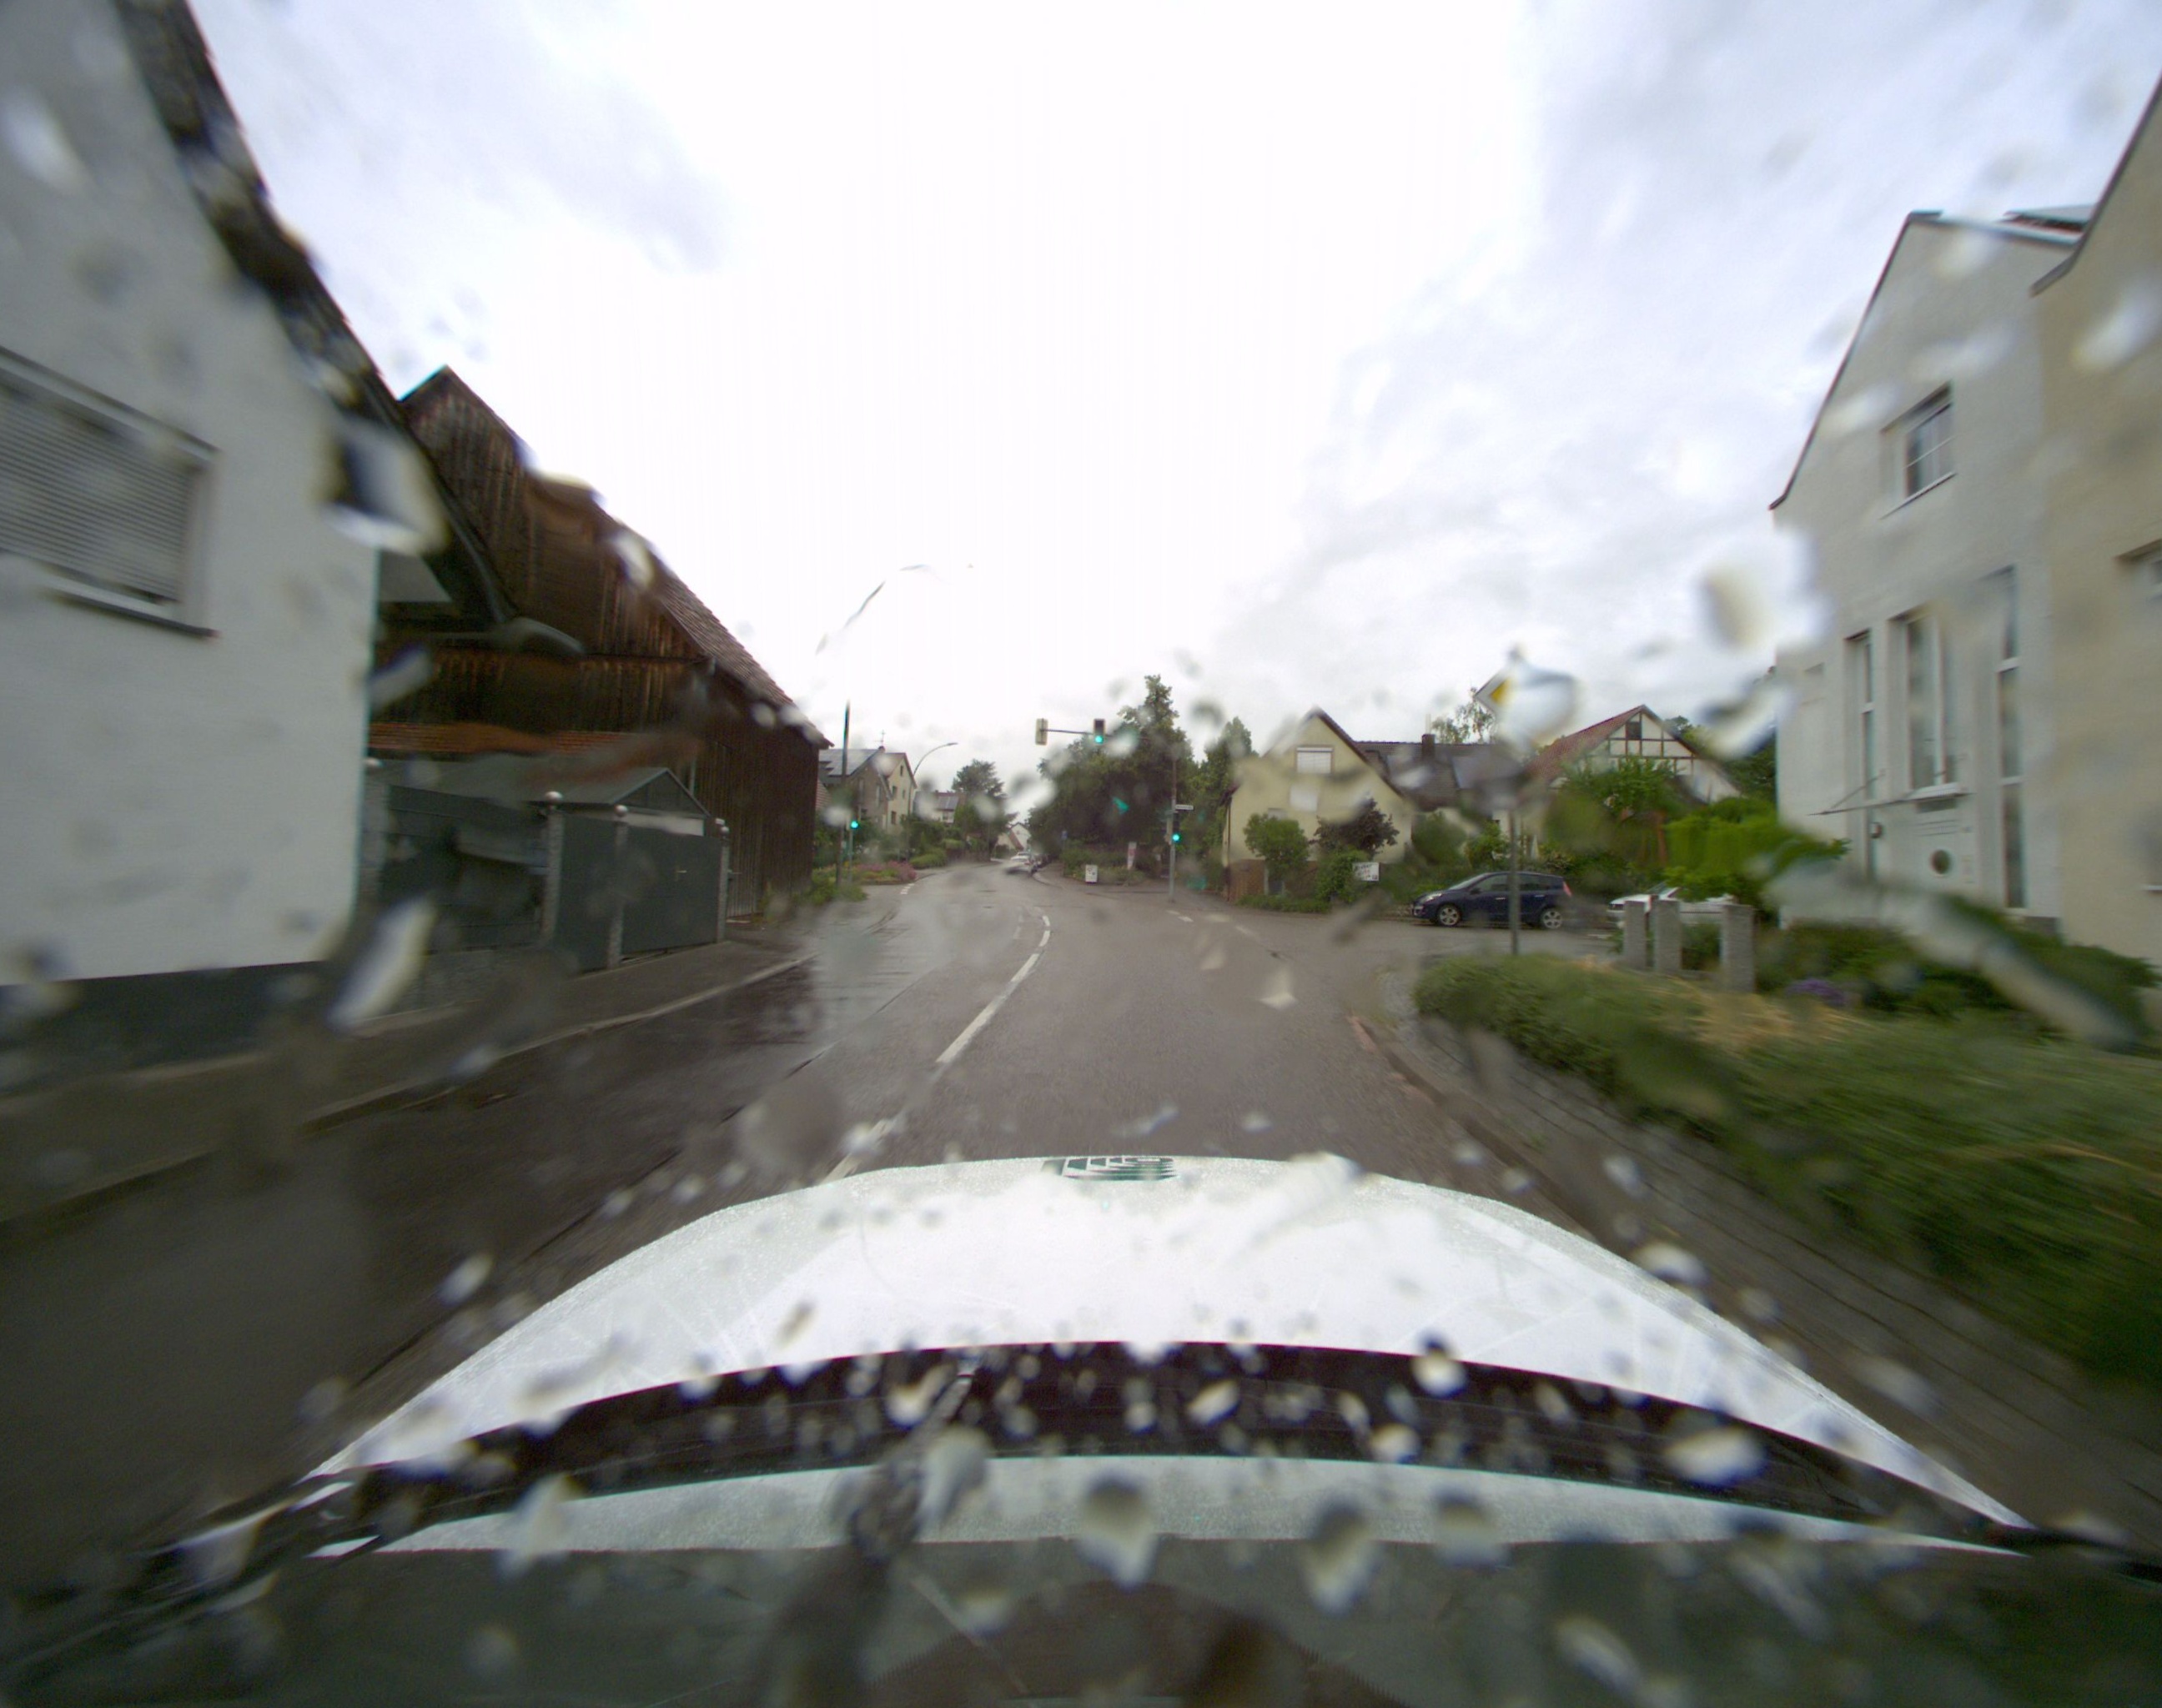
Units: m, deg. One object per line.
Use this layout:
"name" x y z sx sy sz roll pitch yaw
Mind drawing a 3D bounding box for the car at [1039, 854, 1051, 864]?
"car" -5.252 0.773 118.189 1.648 1.371 4.177 1 0 -3

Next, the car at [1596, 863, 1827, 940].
"car" 16.915 1.232 22.105 4.651 1.804 1.810 2 -1 14

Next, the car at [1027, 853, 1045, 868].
"car" -5.070 0.722 92.107 1.808 1.573 3.880 1 -1 1

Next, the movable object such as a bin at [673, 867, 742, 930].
"movable object such as a bin" -6.820 0.804 14.887 0.895 1.078 0.651 3 -2 -1

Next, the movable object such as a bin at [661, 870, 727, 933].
"movable object such as a bin" -6.739 0.820 14.205 0.815 1.061 0.596 2 -2 -1

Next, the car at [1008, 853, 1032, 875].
"car" -4.437 0.718 59.267 1.608 1.480 4.033 2 0 -3

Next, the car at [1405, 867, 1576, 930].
"car" 11.659 1.230 23.481 4.102 1.585 1.871 2 -1 14

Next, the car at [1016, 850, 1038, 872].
"car" -4.603 0.606 70.248 1.632 1.741 4.134 1 0 -1

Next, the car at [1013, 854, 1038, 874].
"car" -4.335 0.769 64.498 1.640 1.462 4.000 2 1 0

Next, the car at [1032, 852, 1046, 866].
"car" -5.352 0.677 104.415 1.738 1.668 4.492 1 -1 -3

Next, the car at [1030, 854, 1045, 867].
"car" -5.232 0.792 98.022 1.760 1.447 4.691 1 -1 -3
